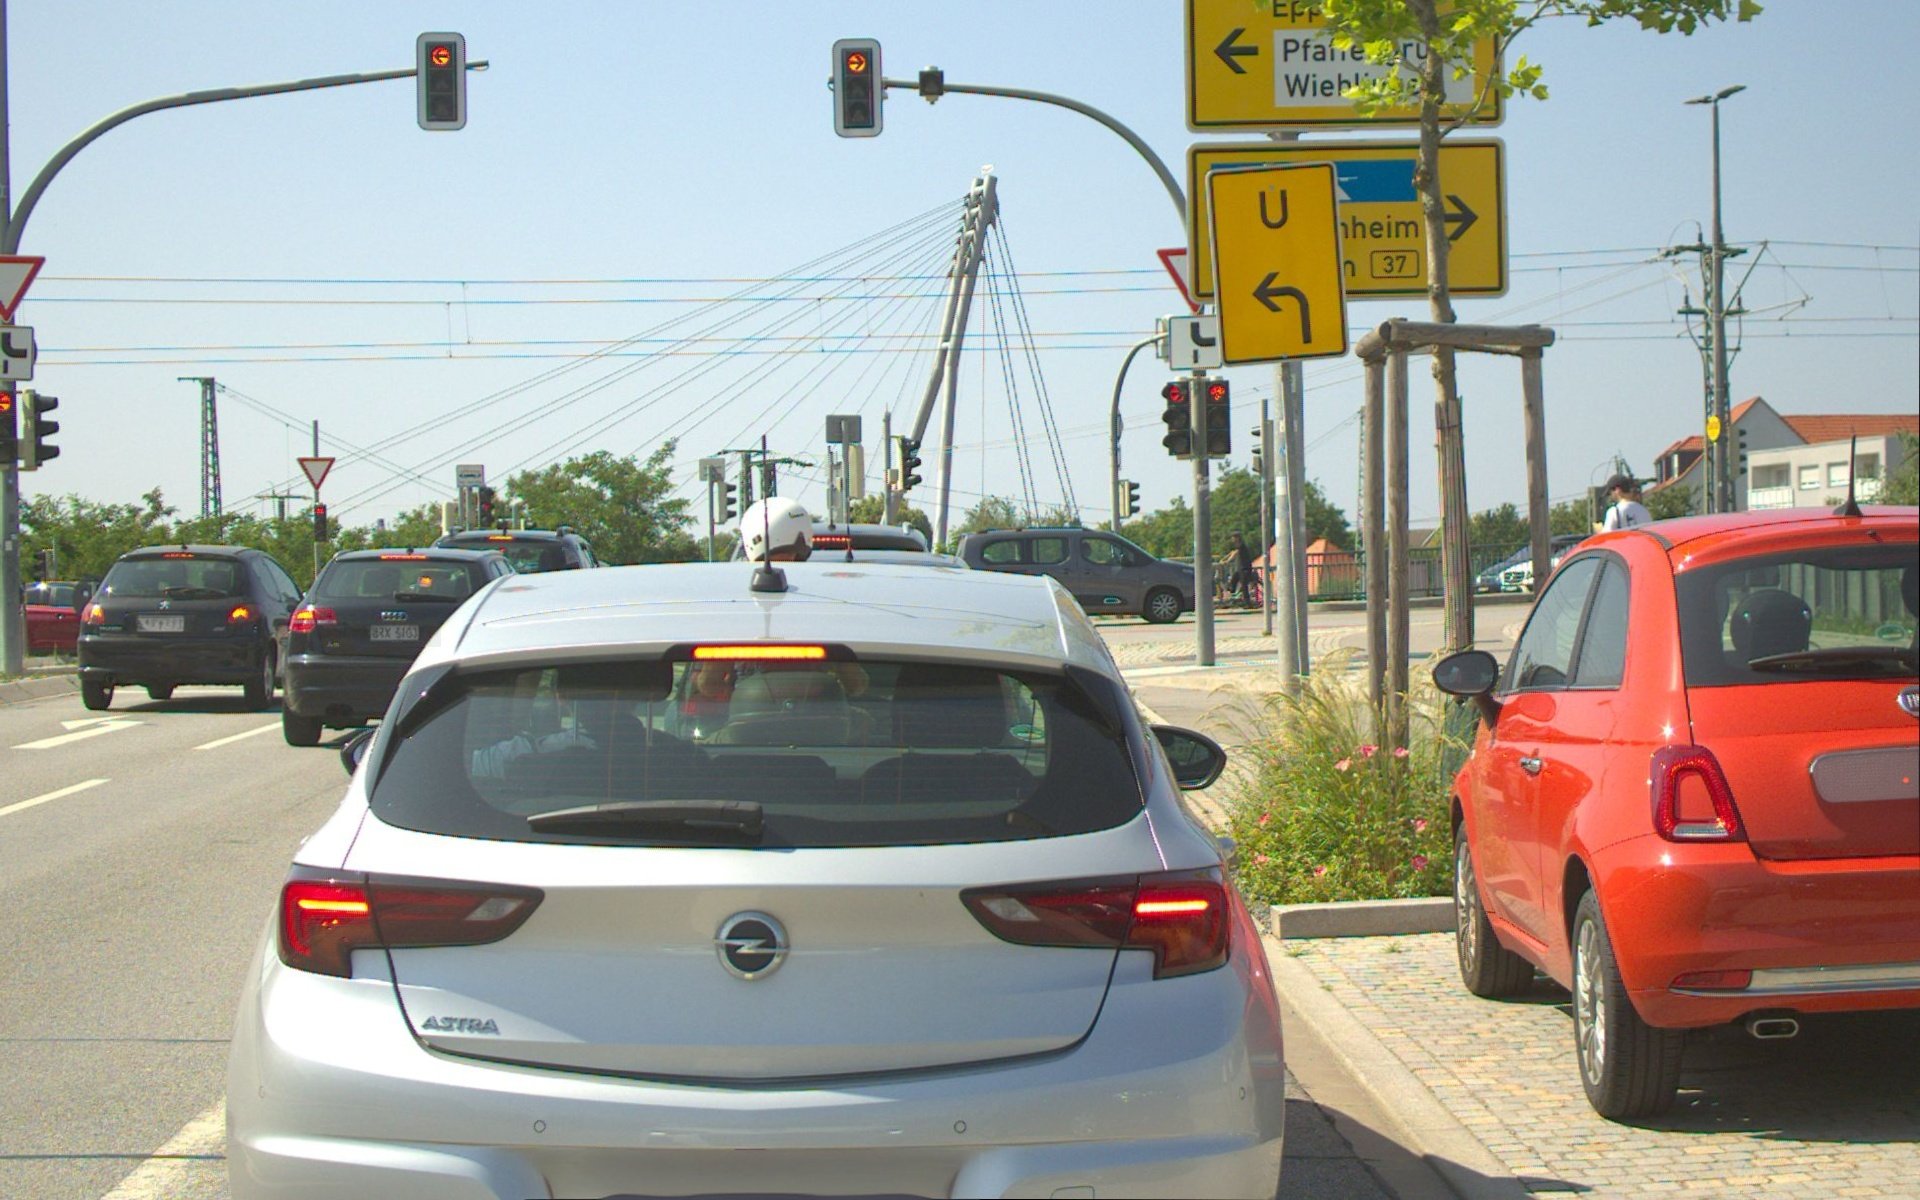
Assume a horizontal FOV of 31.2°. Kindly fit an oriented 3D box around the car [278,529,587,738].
[{"bbox_3d":[-3.878,0.229,25.838,1.705,1.407,4.000,1,0,0],"label":"car"}]

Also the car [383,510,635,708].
[{"bbox_3d":[-4.082,0.074,31.690,1.803,1.616,3.917,-3,0,-1],"label":"car"}]

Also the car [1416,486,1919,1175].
[{"bbox_3d":[2.396,0.482,10.030,1.669,1.534,3.917,-2,2,2],"label":"car"}]

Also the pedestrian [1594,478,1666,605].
[{"bbox_3d":[9.913,-0.861,50.829,0.753,1.857,0.741,1,0,40],"label":"pedestrian"}]

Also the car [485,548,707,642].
[{"bbox_3d":[-6.697,-0.097,63.452,3.845,1.678,1.665,1,0,3],"label":"car"}]

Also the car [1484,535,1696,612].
[{"bbox_3d":[14.137,-0.588,77.202,4.244,1.668,2.001,0,0,-18],"label":"car"}]

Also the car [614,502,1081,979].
[{"bbox_3d":[-0.444,0.498,14.161,1.634,1.668,3.745,1,0,-1],"label":"car"}]

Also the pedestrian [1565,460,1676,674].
[{"bbox_3d":[5.765,-0.285,30.037,0.758,1.823,0.885,1,0,-1],"label":"pedestrian"}]

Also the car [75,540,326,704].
[{"bbox_3d":[-6.771,0.183,30.930,1.587,1.390,3.340,0,0,-1],"label":"car"}]

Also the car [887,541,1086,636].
[{"bbox_3d":[0.573,-0.253,76.475,3.986,2.007,2.001,1,0,-16],"label":"car"}]

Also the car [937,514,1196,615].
[{"bbox_3d":[1.934,-0.647,63.450,4.547,1.777,2.000,1,0,-5],"label":"car"}]

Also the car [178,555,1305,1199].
[{"bbox_3d":[-0.374,0.667,7.312,1.690,1.514,4.271,0,1,-1],"label":"car"}]

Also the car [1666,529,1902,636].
[{"bbox_3d":[15.839,-0.346,66.132,3.986,2.007,2.001,0,0,-21],"label":"car"}]

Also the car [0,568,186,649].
[{"bbox_3d":[-16.820,0.143,64.912,3.990,1.450,1.683,1,0,18],"label":"car"}]
